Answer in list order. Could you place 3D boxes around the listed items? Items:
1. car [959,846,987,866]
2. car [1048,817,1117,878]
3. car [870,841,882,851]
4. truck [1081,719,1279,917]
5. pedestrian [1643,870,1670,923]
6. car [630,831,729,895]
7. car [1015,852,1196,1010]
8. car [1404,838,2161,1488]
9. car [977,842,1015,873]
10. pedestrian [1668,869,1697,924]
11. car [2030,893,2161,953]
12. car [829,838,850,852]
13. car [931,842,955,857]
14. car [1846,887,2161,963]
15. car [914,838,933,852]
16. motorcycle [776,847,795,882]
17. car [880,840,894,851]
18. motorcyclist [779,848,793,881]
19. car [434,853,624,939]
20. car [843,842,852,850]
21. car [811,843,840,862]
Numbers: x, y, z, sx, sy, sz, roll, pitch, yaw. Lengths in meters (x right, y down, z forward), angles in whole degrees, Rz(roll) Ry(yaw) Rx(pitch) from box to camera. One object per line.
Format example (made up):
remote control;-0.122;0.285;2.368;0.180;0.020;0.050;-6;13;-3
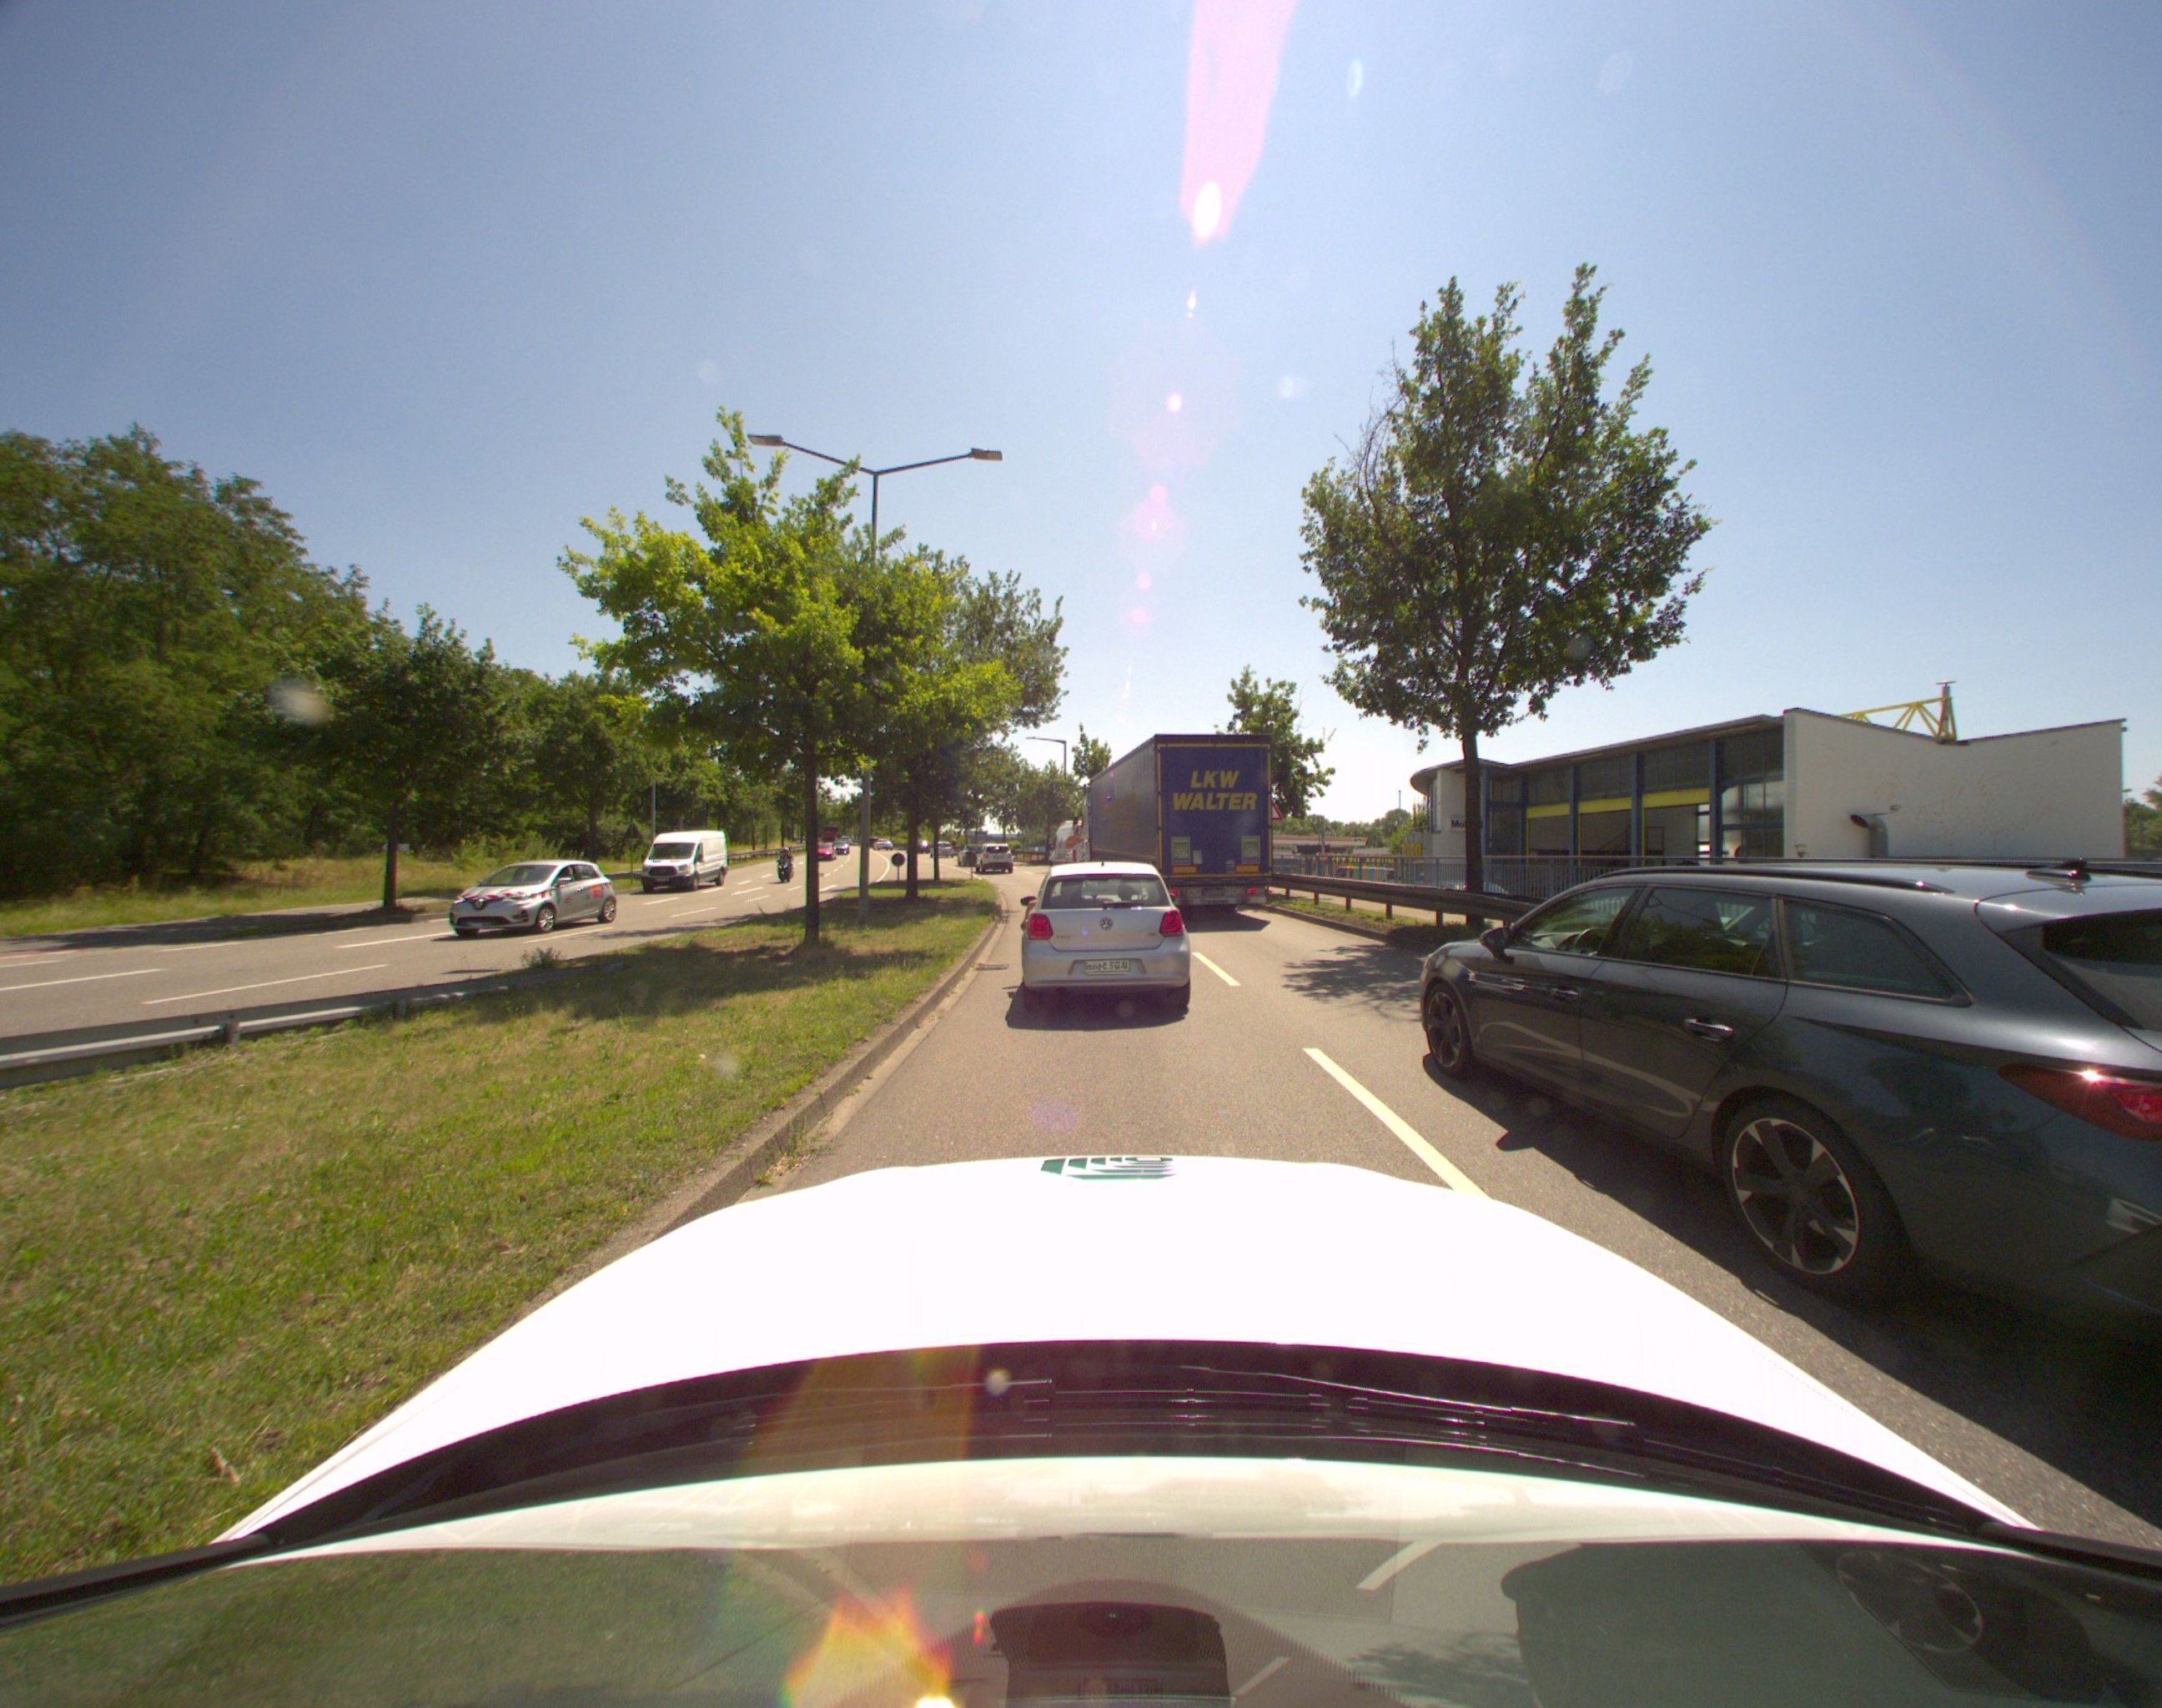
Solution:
car;-7.557;0.148;56.587;1.497;1.360;3.644;0;0;-15
car;-0.028;-0.376;41.821;2.178;2.900;6.331;0;1;-13
car;-28.437;-1.118;112.870;1.421;1.314;3.317;0;-1;-17
truck;2.137;-0.789;25.554;2.829;4.198;16.444;0;0;-5
pedestrian;18.728;1.368;26.523;0.520;1.703;0.487;0;-1;-4
car;-17.159;0.285;35.203;2.093;2.500;5.792;-1;1;-9
car;0.241;0.720;9.207;1.640;1.439;3.537;0;-1;0
car;3.212;0.708;3.949;1.599;1.456;4.234;0;-1;0
car;-4.975;0.226;47.246;1.904;1.718;4.208;0;-1;-10
pedestrian;18.964;1.325;25.682;0.425;1.703;0.588;0;-1;-5
car;24.449;1.567;18.522;3.568;1.253;1.488;-1;-1;42
car;-24.710;-0.909;83.429;1.811;1.333;4.549;0;-1;-12
car;-12.898;-0.434;76.168;1.613;1.360;3.638;0;0;-20
car;20.399;1.478;17.841;5.017;1.358;2.013;-1;-1;34
car;-17.282;-1.001;89.328;1.669;1.465;3.559;0;-1;-17
motorcycle;-14.438;0.498;39.832;0.598;1.678;2.414;0;-1;-13
car;-24.248;-1.074;101.592;1.460;1.314;3.616;0;-1;-17
motorcyclist;-14.438;0.510;39.873;0.587;1.626;0.560;0;-1;-13
car;-12.091;0.835;18.204;1.631;1.567;4.068;-1;1;-4
car;-37.932;-1.269;132.066;1.325;1.139;2.976;0;-1;-18
car;-21.285;-0.139;67.973;1.833;1.437;4.505;-2;0;-13
